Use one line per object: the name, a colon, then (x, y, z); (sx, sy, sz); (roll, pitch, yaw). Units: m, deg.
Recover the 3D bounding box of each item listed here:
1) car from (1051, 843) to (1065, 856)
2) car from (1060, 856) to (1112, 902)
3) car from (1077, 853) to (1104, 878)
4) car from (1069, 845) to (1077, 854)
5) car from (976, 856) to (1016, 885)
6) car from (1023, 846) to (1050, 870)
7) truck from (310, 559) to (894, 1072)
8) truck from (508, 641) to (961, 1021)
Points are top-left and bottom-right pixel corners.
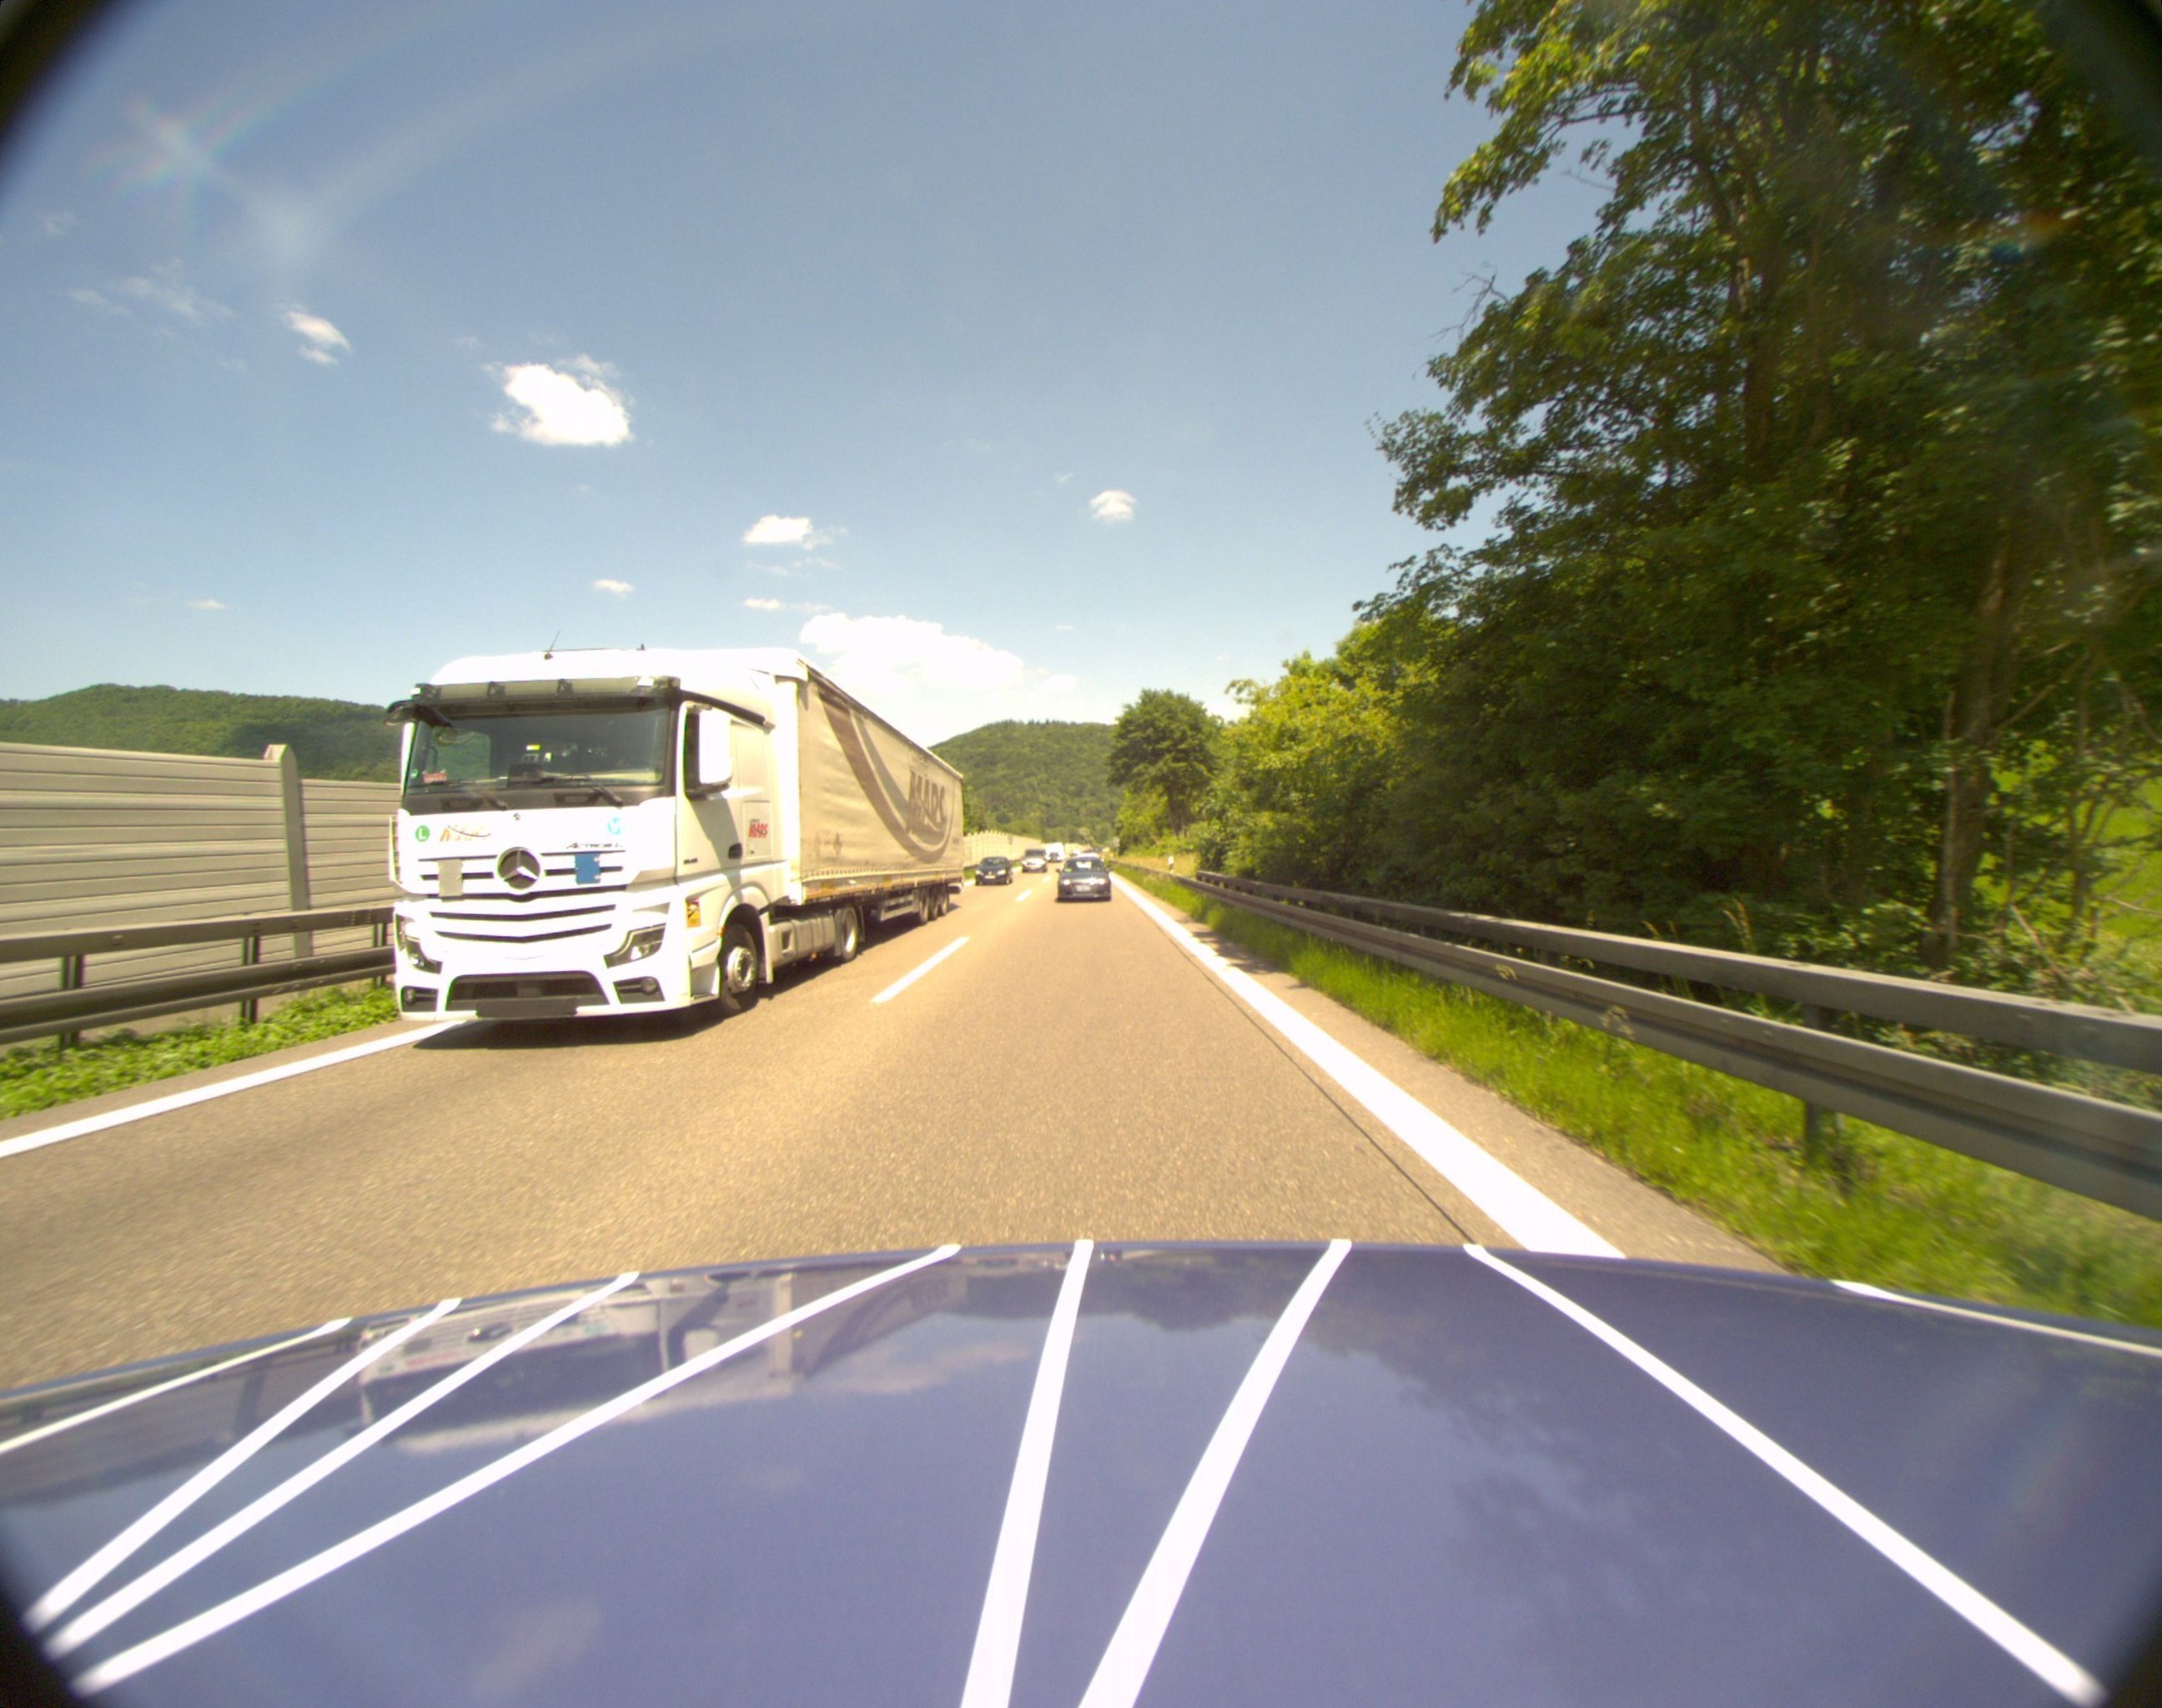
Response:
car: (-3.546, -0.680, 117.631); (1.998, 1.892, 4.000); (1, 0, 1)
car: (0.178, 0.812, 26.371); (1.662, 1.436, 3.474); (0, 1, 0)
car: (0.602, 0.743, 49.965); (1.715, 1.541, 3.999); (0, 1, 0)
car: (-1.971, -1.148, 187.222); (1.998, 2.002, 3.999); (2, 2, 1)
car: (-4.325, 0.814, 39.159); (1.662, 1.405, 3.474); (0, 1, 0)
car: (-3.550, 0.366, 61.304); (2.044, 1.854, 4.000); (-1, -1, -1)
truck: (-4.636, -0.320, 9.444); (2.764, 4.015, 6.823); (-1, 1, 1)
truck: (-4.735, -0.326, 14.345); (2.861, 4.124, 12.045); (-1, 1, 0)
